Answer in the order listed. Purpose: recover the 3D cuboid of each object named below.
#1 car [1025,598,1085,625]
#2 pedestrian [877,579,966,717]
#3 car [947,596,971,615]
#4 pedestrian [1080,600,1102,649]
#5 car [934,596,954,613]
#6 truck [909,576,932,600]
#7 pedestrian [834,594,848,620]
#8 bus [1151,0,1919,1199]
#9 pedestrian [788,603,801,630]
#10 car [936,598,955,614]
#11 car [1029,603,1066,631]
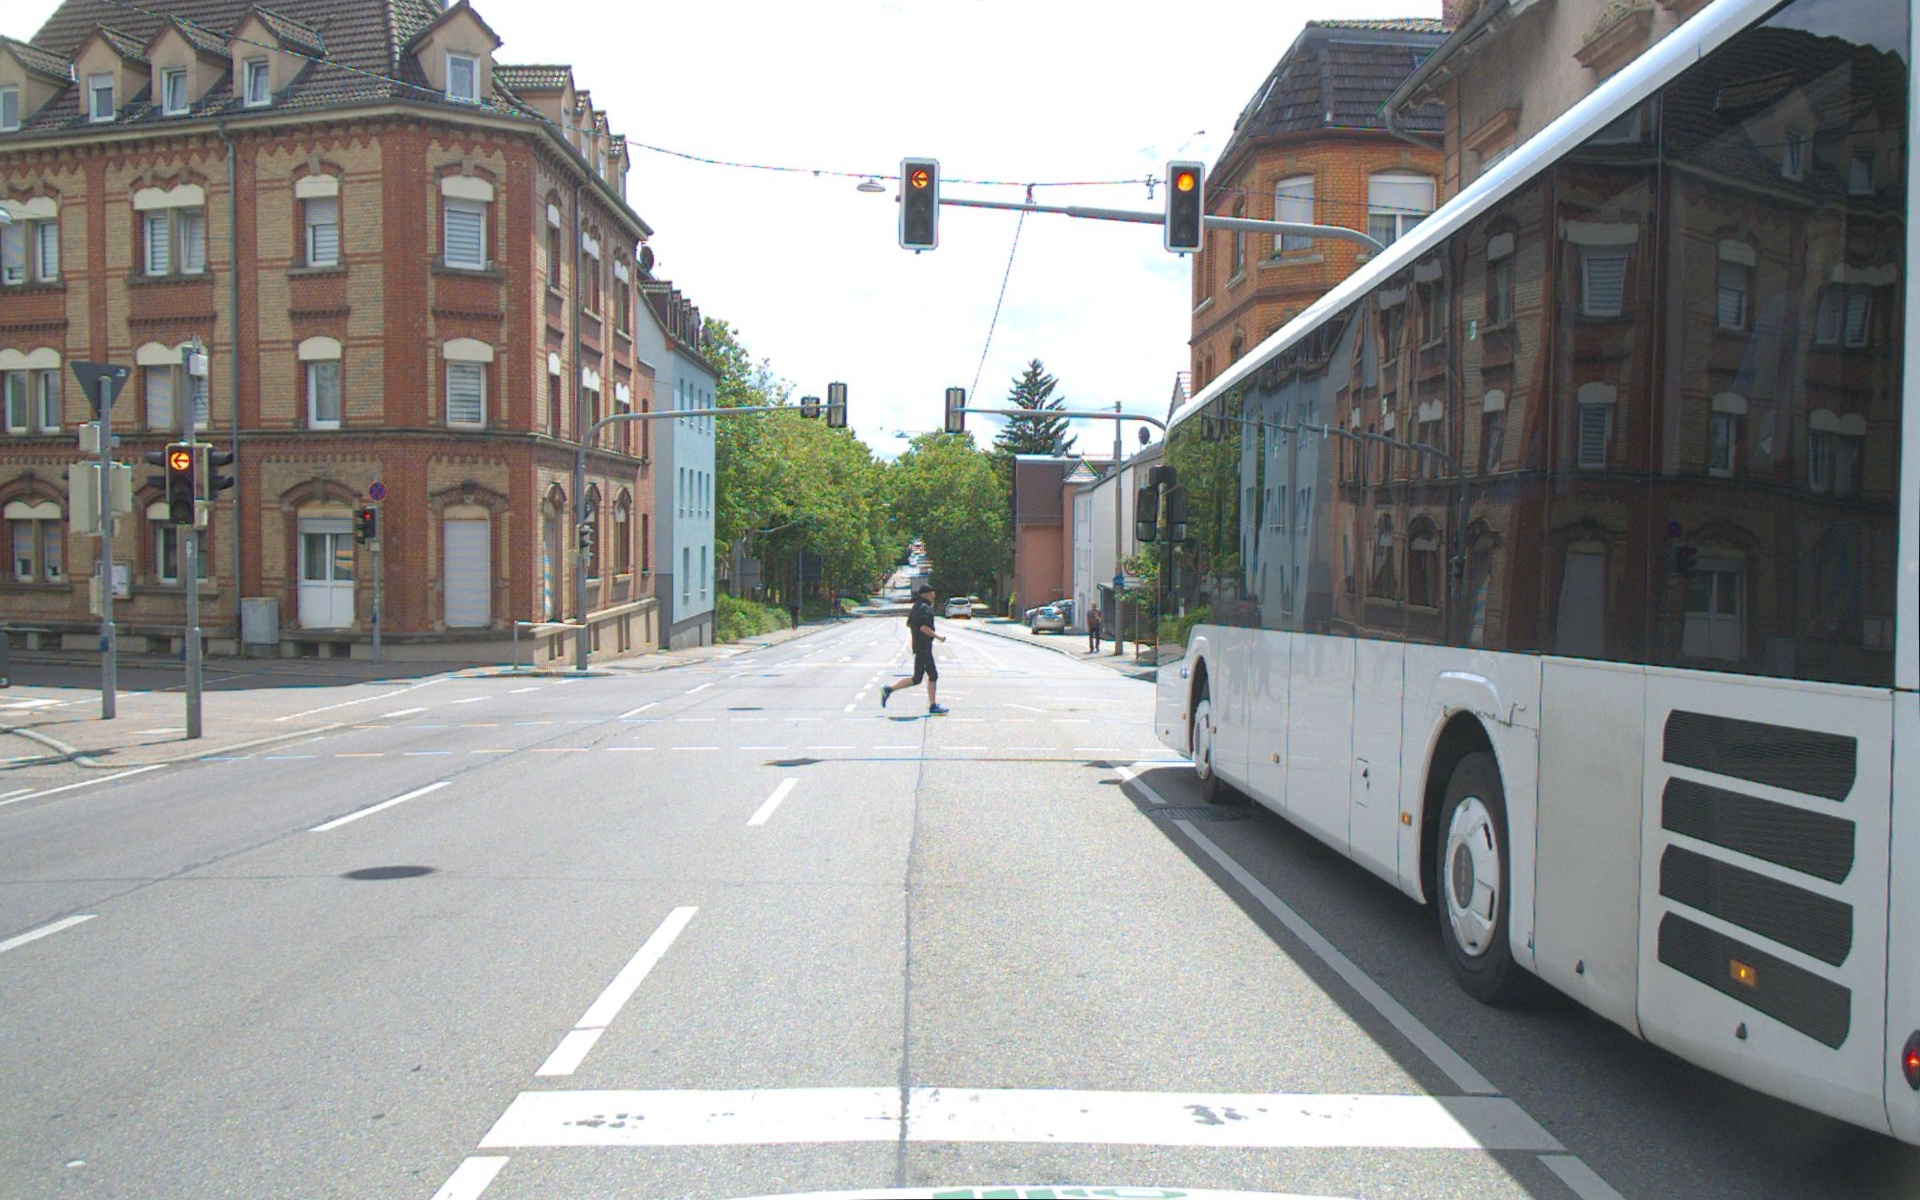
[{"bbox_3d":[6.493,0.780,113.250,3.909,1.788,1.998,-1,0,-6],"label":"car"},{"bbox_3d":[-0.511,0.609,21.620,1.118,1.765,0.758,0,0,-5],"label":"pedestrian"},{"bbox_3d":[-0.093,0.458,129.390,1.758,1.434,3.999,1,0,-1],"label":"car"},{"bbox_3d":[4.805,0.897,60.495,0.723,1.781,0.619,-1,0,-1],"label":"pedestrian"},{"bbox_3d":[-1.399,0.405,145.792,1.757,1.434,4.418,1,0,0],"label":"car"},{"bbox_3d":[-5.489,-1.638,227.052,2.868,3.135,7.881,-1,0,-3],"label":"truck"},{"bbox_3d":[-9.154,0.532,127.312,0.974,2.049,1.188,0,0,-1],"label":"pedestrian"},{"bbox_3d":[3.174,-0.149,9.265,2.618,3.211,12.459,0,0,-1],"label":"bus"},{"bbox_3d":[-9.526,0.943,95.332,0.714,1.592,0.560,0,0,-2],"label":"pedestrian"},{"bbox_3d":[-1.329,0.516,153.898,1.757,1.434,4.418,1,0,0],"label":"car"},{"bbox_3d":[4.918,0.947,93.125,1.758,1.434,3.999,-1,1,-2],"label":"car"}]
